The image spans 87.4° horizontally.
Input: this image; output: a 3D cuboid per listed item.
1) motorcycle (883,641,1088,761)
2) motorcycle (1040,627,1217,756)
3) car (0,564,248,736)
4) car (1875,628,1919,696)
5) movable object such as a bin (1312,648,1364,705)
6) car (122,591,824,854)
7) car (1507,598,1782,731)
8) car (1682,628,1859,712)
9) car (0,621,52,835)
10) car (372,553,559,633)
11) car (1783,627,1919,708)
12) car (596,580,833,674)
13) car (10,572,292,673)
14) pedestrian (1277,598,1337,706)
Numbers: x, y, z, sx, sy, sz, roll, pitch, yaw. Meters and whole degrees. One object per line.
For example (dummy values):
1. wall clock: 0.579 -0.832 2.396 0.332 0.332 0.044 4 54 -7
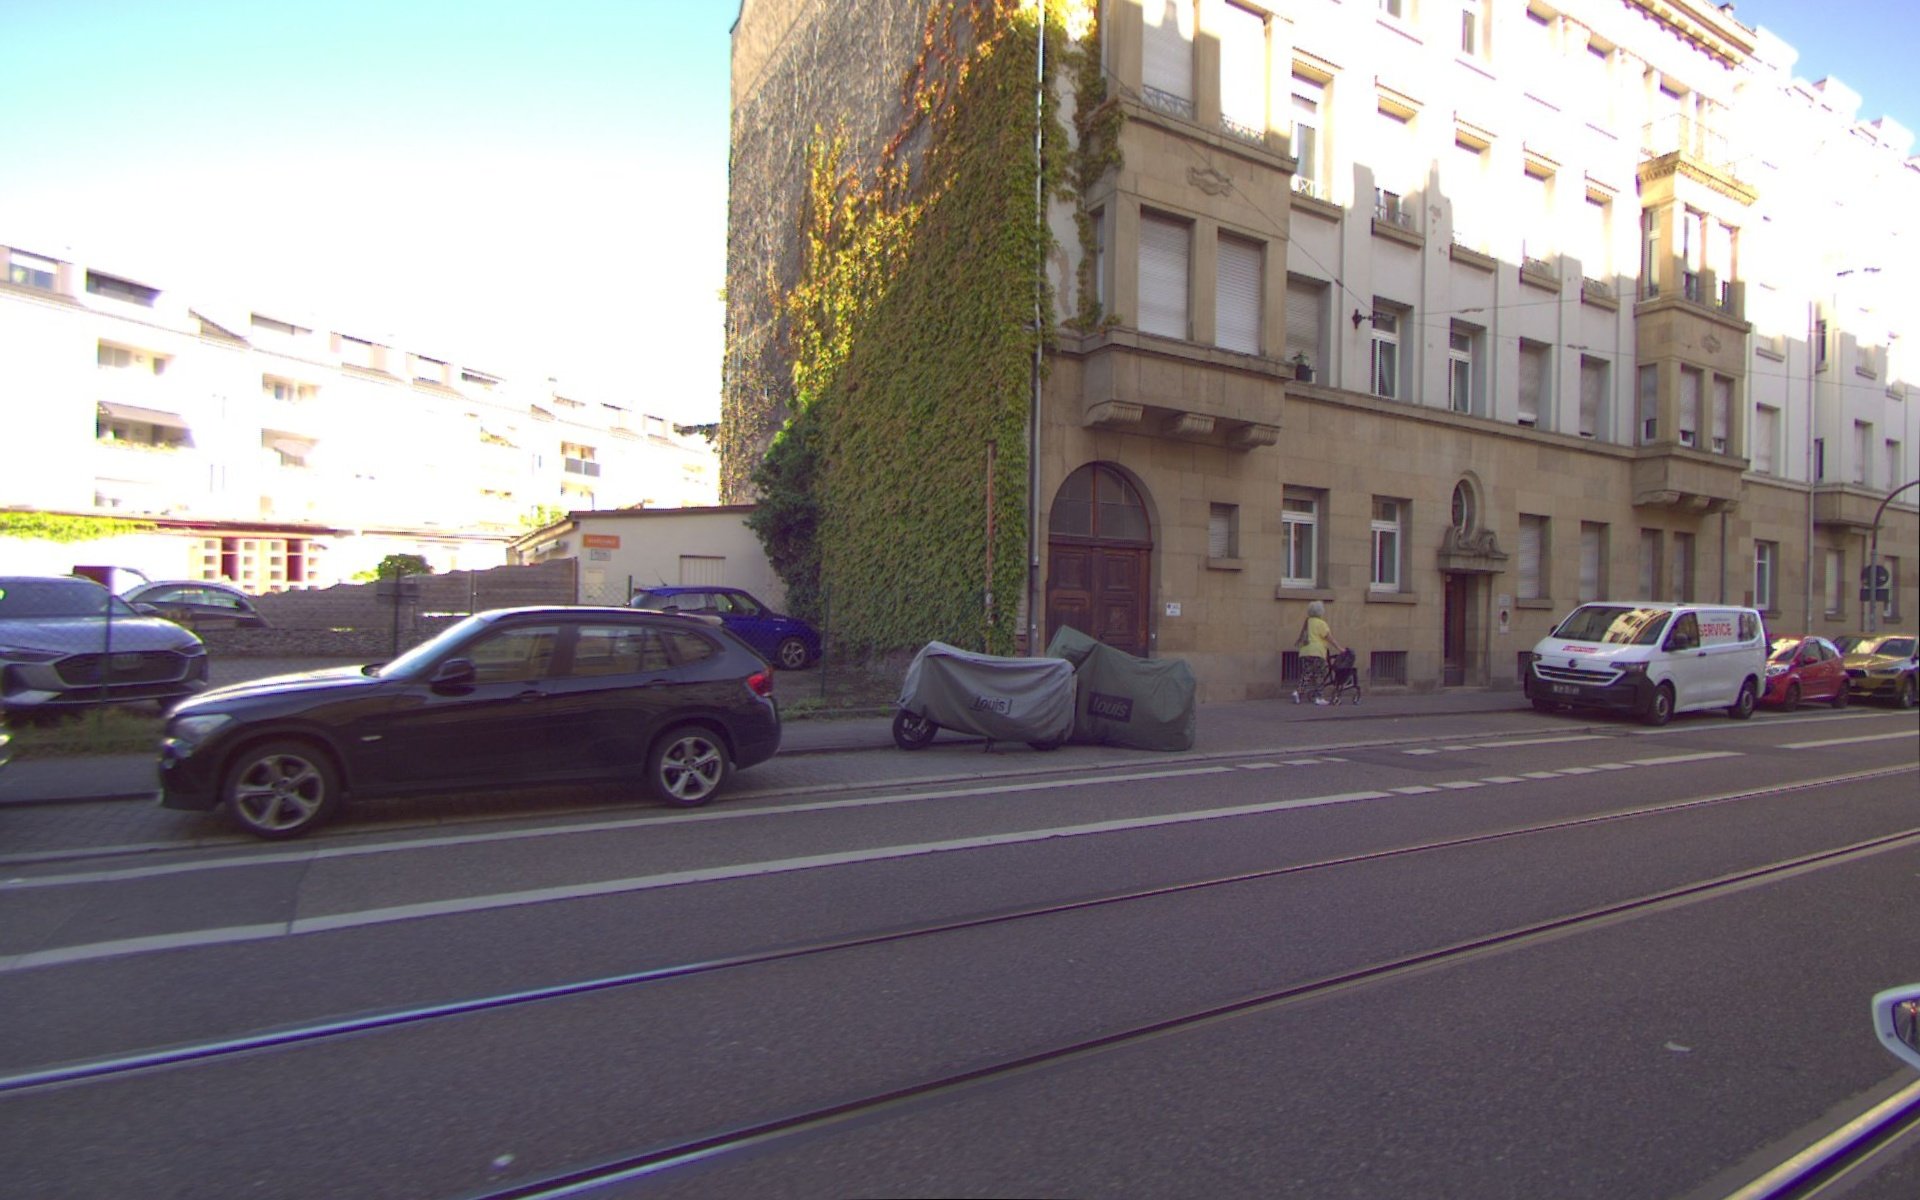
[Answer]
1. motorcycle: 0.270 1.077 10.923 2.137 1.187 0.742 1 0 0
2. motorcycle: 1.924 1.038 11.730 1.918 1.369 0.886 1 0 2
3. car: -10.176 0.425 10.931 4.708 1.538 1.998 1 0 27
4. car: 24.768 1.554 25.074 4.318 1.568 1.762 2 1 -33
5. movable object such as a bin: 6.374 1.281 16.948 0.512 0.912 0.610 1 0 -30
6. car: -3.561 0.806 8.070 4.553 1.586 1.775 2 1 -29
7. car: 11.999 1.045 17.509 5.193 1.975 1.962 2 1 -32
8. car: 16.449 1.367 20.359 3.604 1.492 1.595 2 1 -31
9. car: -8.105 0.803 5.619 4.172 1.331 1.774 2 1 -31
10. car: -12.047 -0.131 24.558 3.953 1.773 1.788 1 0 -30
11. car: 20.247 1.447 22.243 4.311 1.544 1.774 2 1 -32
12. car: -4.434 0.479 18.259 3.863 1.546 1.744 1 0 -30
13. car: -15.355 0.430 19.370 3.953 1.773 1.788 1 0 -30
14. pedestrian: 5.745 0.849 16.661 0.609 1.747 0.676 1 0 -30
